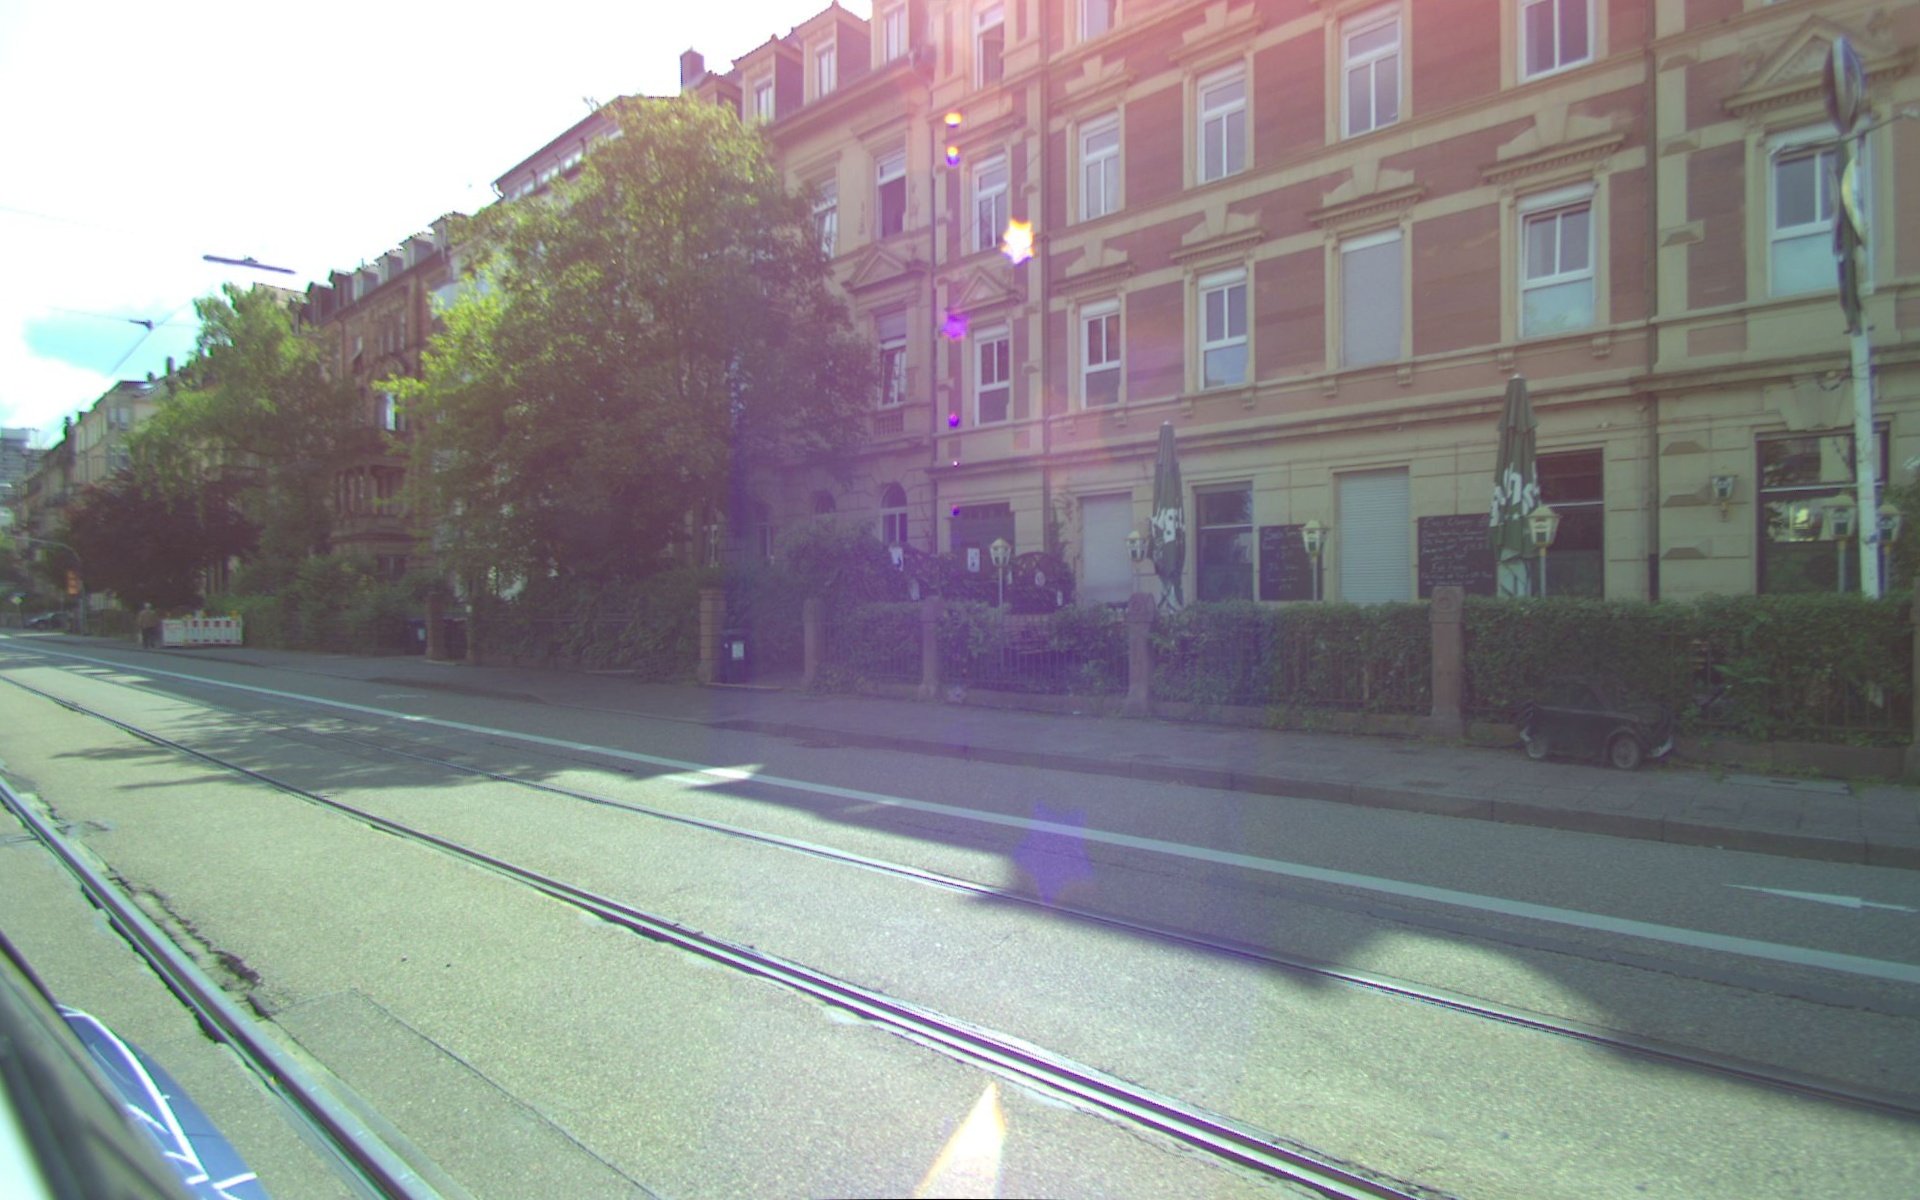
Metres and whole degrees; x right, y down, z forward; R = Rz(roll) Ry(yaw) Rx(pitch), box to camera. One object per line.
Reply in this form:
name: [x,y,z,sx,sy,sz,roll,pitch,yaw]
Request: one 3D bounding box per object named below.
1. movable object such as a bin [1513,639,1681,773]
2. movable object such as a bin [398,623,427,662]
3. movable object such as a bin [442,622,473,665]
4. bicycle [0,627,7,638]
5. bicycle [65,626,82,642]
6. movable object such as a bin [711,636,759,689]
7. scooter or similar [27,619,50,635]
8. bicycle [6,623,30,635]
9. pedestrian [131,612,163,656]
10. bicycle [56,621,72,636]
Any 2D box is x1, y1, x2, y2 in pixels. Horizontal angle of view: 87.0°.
movable object such as a bin: [5.452,0.869,8.674,1.114,0.995,0.737,-1,2,41]
movable object such as a bin: [-16.274,1.249,30.088,0.789,1.102,0.532,0,0,42]
movable object such as a bin: [-13.641,1.175,27.493,0.543,1.116,0.790,0,-1,-44]
bicycle: [-83.638,2.815,88.389,1.948,0.984,0.417,-1,-1,41]
bicycle: [-55.043,2.101,62.839,1.967,0.954,0.524,-1,-1,41]
movable object such as a bin: [-3.932,1.082,17.697,0.616,0.883,0.556,-1,-1,41]
scooter or similar: [-73.229,2.132,80.455,0.400,1.244,1.360,-1,0,12]
bicycle: [-79.957,2.424,85.911,0.404,0.984,1.437,-2,-1,41]
pedestrian: [-31.951,1.324,39.756,0.890,1.719,0.814,-1,-1,38]
bicycle: [-57.683,1.830,65.173,1.967,0.954,0.524,-1,-1,41]
